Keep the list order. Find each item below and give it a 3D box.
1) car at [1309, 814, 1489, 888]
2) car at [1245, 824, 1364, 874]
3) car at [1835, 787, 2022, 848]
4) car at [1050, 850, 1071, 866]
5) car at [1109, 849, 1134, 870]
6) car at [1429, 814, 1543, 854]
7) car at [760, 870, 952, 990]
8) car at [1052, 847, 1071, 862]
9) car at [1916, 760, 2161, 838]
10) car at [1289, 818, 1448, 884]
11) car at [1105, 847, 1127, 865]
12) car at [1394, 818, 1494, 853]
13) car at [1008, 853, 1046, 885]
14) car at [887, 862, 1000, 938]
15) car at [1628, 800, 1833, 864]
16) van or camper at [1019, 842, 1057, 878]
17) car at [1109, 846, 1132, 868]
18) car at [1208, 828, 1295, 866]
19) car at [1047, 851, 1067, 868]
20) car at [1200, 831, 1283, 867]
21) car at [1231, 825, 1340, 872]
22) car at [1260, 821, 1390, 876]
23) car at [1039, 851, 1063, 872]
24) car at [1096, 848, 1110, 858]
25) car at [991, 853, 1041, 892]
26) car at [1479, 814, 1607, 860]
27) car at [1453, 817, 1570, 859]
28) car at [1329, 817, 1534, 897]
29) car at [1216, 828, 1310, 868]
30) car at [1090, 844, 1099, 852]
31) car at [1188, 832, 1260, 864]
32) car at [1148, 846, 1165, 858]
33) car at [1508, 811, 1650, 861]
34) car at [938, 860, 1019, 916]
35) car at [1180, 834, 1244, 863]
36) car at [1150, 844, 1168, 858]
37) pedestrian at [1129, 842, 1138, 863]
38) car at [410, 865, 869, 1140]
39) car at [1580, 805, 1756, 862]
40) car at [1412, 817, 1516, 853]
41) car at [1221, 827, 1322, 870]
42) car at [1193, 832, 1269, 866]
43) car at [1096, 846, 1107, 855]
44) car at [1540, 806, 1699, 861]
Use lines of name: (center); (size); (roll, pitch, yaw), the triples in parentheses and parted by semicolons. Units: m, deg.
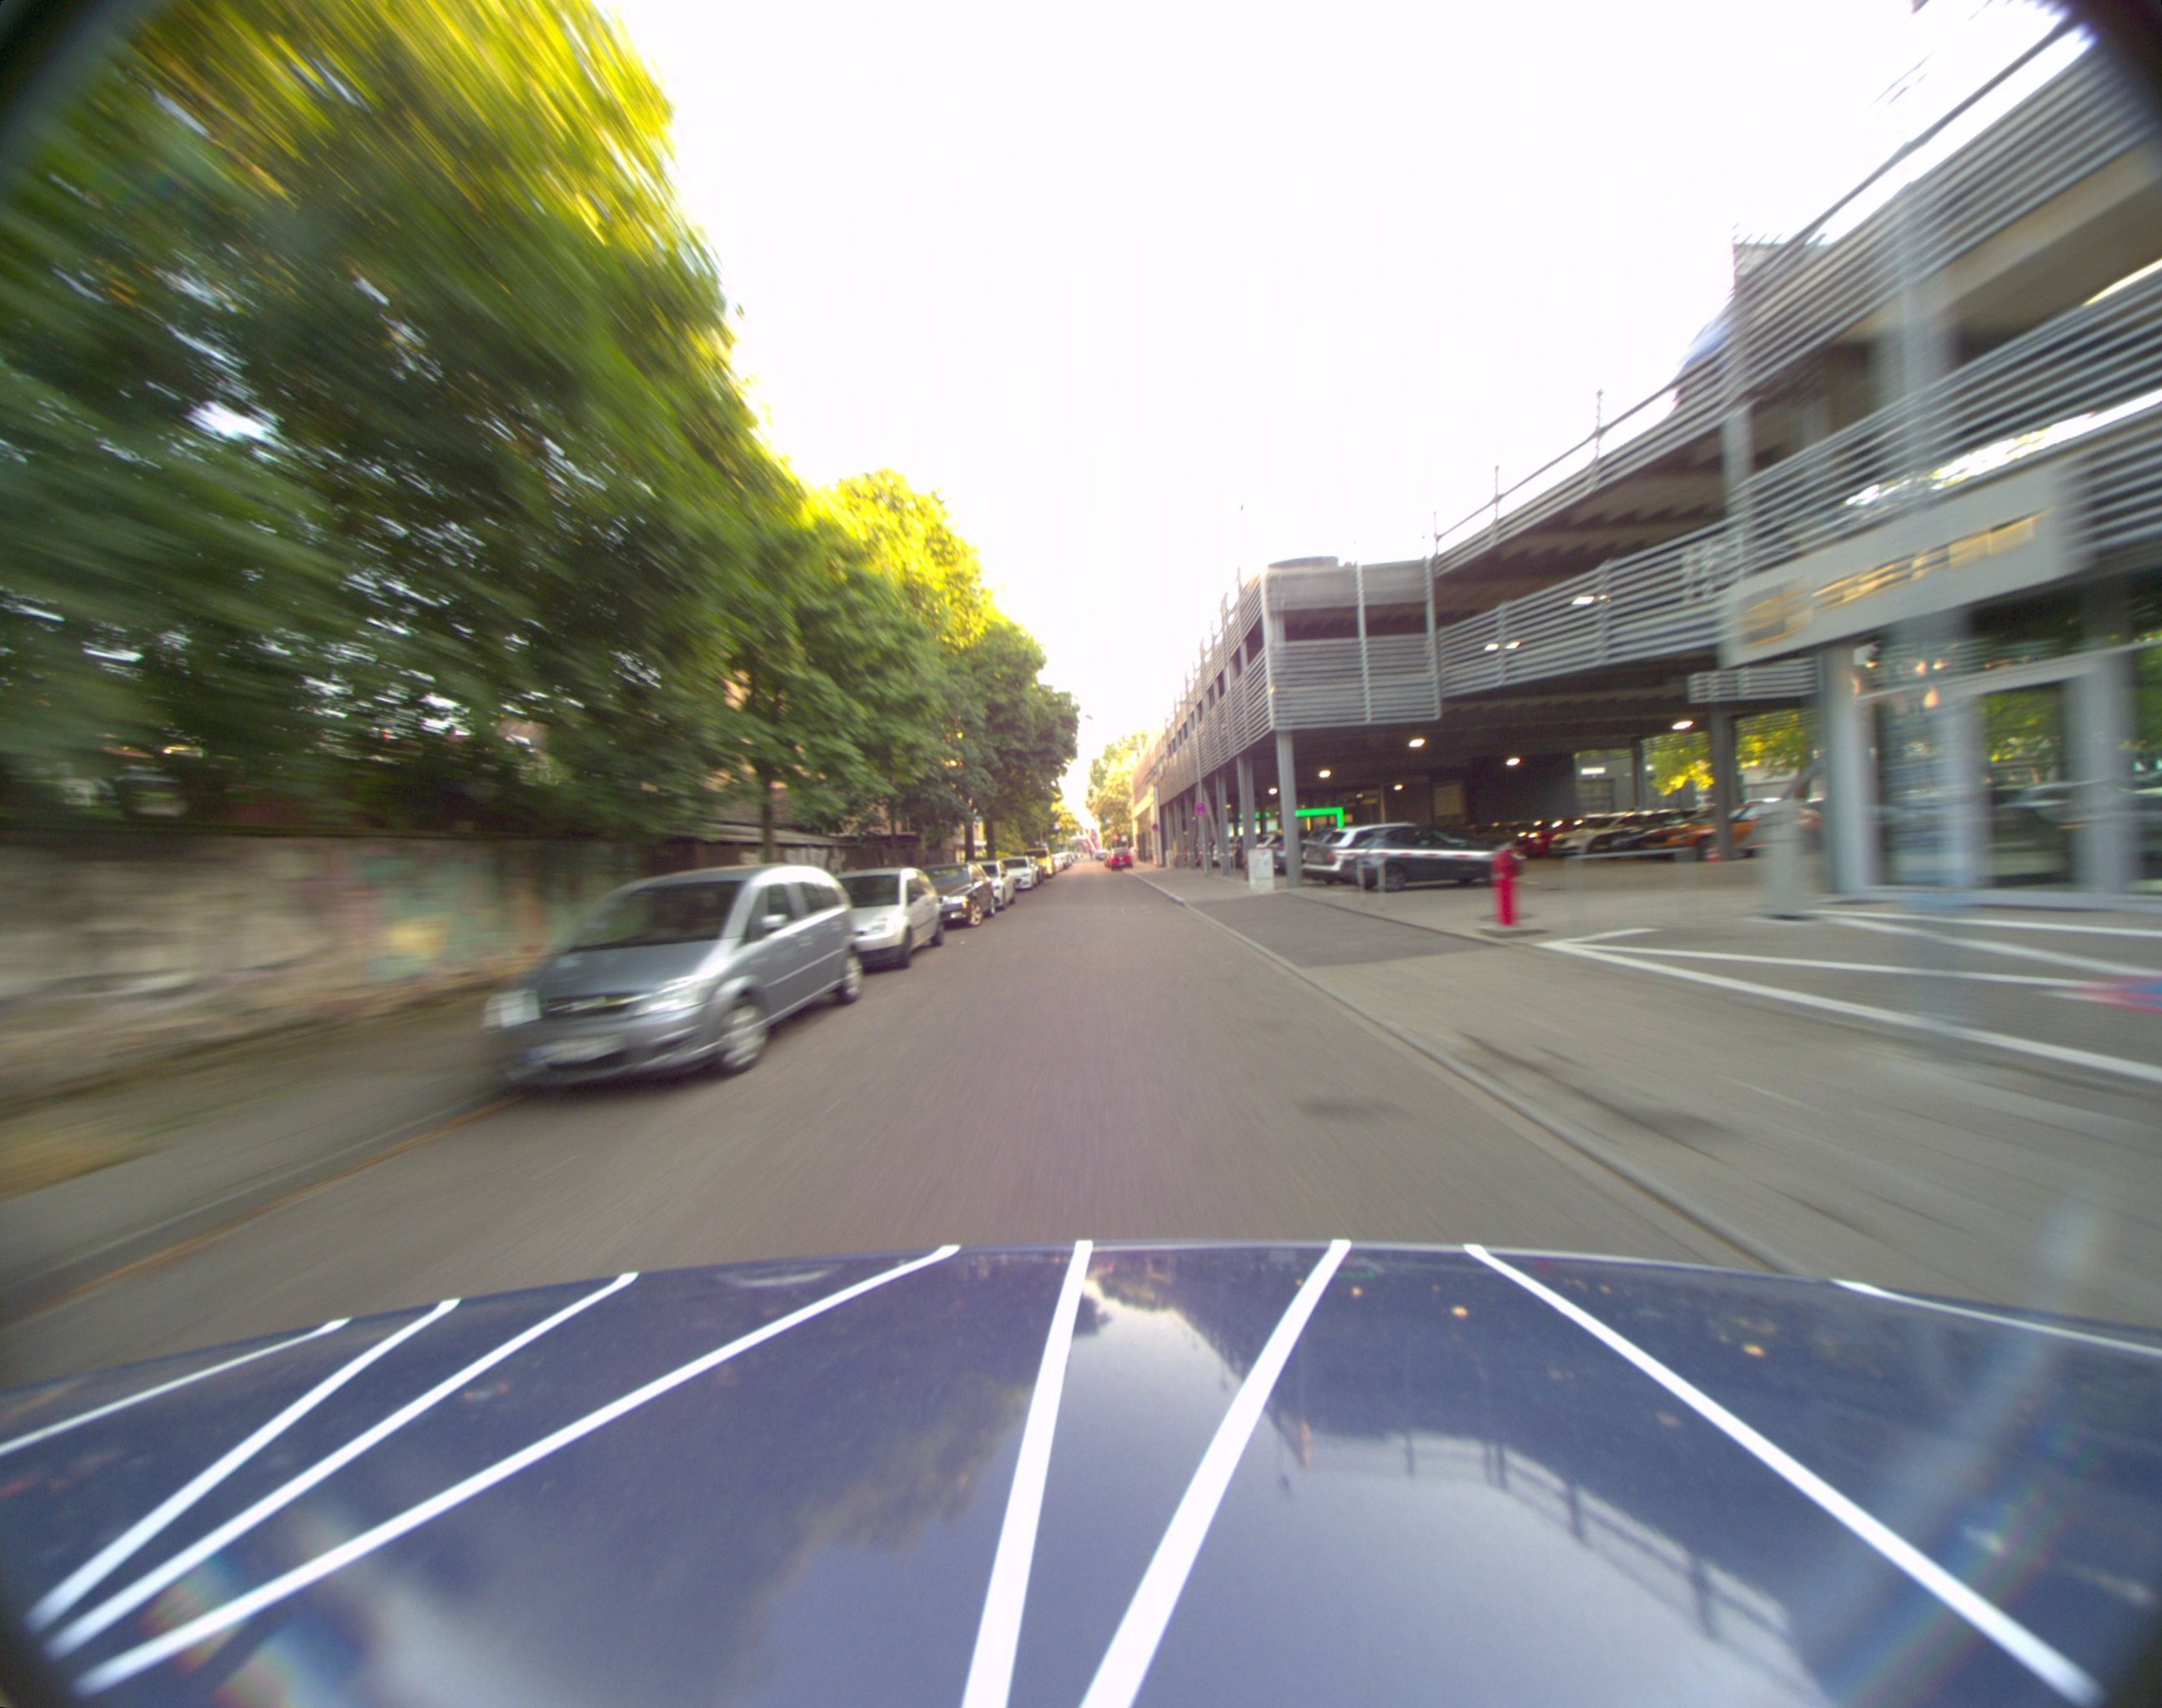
car: (8.607, -0.066, 20.851); (4.089, 1.674, 1.860); (-4, 0, 2)
car: (8.769, -0.198, 30.130); (4.113, 1.674, 1.860); (-4, 0, 2)
car: (24.150, -1.017, 21.733); (3.458, 1.417, 1.596); (-4, 1, 1)
car: (-1.937, 0.349, 73.781); (1.814, 1.408, 4.625); (-3, 0, 1)
car: (3.149, 0.422, 59.131); (1.702, 1.497, 3.790); (-3, 0, 1)
car: (18.712, -0.909, 35.271); (4.215, 1.511, 1.860); (-4, 0, 2)
car: (-3.338, 1.053, 12.087); (1.764, 1.433, 3.874); (-4, 0, 1)
car: (-2.041, 0.056, 80.203); (1.814, 1.408, 3.896); (-3, 0, 1)
car: (23.694, -1.317, 18.753); (3.990, 1.545, 1.860); (-4, 0, 2)
car: (8.675, -0.093, 23.198); (4.097, 1.674, 1.860); (-4, 0, 2)
car: (3.274, 0.184, 71.324); (1.942, 1.587, 4.206); (-4, 0, 2)
car: (19.059, -0.946, 40.036); (4.347, 1.479, 1.860); (-4, 0, 2)
car: (-2.700, 0.756, 38.372); (1.567, 1.442, 3.453); (-4, 0, 0)
car: (-3.104, 0.989, 18.071); (1.764, 1.446, 4.392); (-4, 0, 1)
car: (18.586, -0.602, 21.900); (4.240, 1.486, 1.830); (-4, 0, 2)
van or camper: (-2.695, 0.393, 48.922); (2.069, 2.083, 5.090); (-4, 0, 0)
car: (3.309, 0.240, 64.862); (1.702, 1.746, 4.403); (-3, 0, 1)
car: (8.827, -0.360, 39.622); (4.035, 1.674, 1.860); (-4, 0, 2)
car: (-2.155, 0.497, 69.117); (1.614, 1.453, 4.054); (-3, 0, 1)
car: (8.813, -0.253, 41.967); (4.159, 1.674, 1.860); (-4, 0, 2)
car: (8.705, -0.222, 32.629); (4.113, 1.674, 1.860); (-4, 0, 2)
car: (8.829, -0.185, 27.703); (4.074, 1.674, 1.860); (-4, 0, 2)
car: (-2.490, 0.615, 64.145); (1.796, 1.553, 4.193); (-3, 0, 1)
car: (3.647, -0.113, 125.530); (1.786, 1.442, 3.884); (-9, 0, -2)
car: (-2.800, 0.767, 33.280); (1.726, 1.510, 4.026); (-4, 0, 0)
car: (18.771, -0.658, 31.027); (3.996, 1.549, 1.860); (-4, 0, 2)
car: (18.763, -0.675, 33.262); (3.996, 1.549, 1.860); (-4, 0, 2)
car: (8.291, 0.027, 18.230); (3.997, 1.577, 1.859); (-4, 2, -1)
car: (8.844, -0.274, 37.235); (4.093, 1.674, 1.860); (-4, 0, 2)
car: (3.673, -1.598, 208.041); (1.786, 1.772, 4.011); (-9, 0, -2)
car: (8.798, -0.374, 47.016); (4.045, 1.674, 1.860); (-4, 0, 2)
car: (9.156, -0.221, 92.345); (1.597, 1.286, 3.451); (-3, 0, 0)
car: (18.728, -0.661, 28.712); (4.045, 1.587, 1.860); (-4, 0, 2)
car: (-2.975, 0.944, 22.812); (1.764, 1.433, 4.006); (-4, 0, 1)
car: (8.879, -0.347, 51.744); (4.052, 1.674, 1.860); (-4, 0, 2)
car: (8.900, -0.368, 87.025); (1.597, 1.514, 3.876); (-3, 0, 0)
pedestrian: (4.925, -0.141, 71.657); (0.722, 1.867, 0.620); (-4, 0, 2)
car: (-3.424, 1.006, 6.901); (1.764, 1.595, 3.873); (-4, 1, 1)
car: (18.564, -0.624, 24.167); (4.061, 1.486, 1.860); (-4, 0, 2)
car: (18.726, -0.927, 37.267); (4.084, 1.446, 1.860); (-4, 0, 2)
car: (8.712, -0.252, 35.005); (4.113, 1.674, 1.860); (-4, 0, 2)
car: (8.719, -0.282, 44.378); (4.045, 1.674, 1.860); (-4, 0, 2)
car: (4.657, -0.818, 172.004); (1.964, 1.826, 3.884); (-9, 0, -2)
car: (18.593, -0.680, 26.375); (4.077, 1.570, 1.860); (-4, 0, 2)
